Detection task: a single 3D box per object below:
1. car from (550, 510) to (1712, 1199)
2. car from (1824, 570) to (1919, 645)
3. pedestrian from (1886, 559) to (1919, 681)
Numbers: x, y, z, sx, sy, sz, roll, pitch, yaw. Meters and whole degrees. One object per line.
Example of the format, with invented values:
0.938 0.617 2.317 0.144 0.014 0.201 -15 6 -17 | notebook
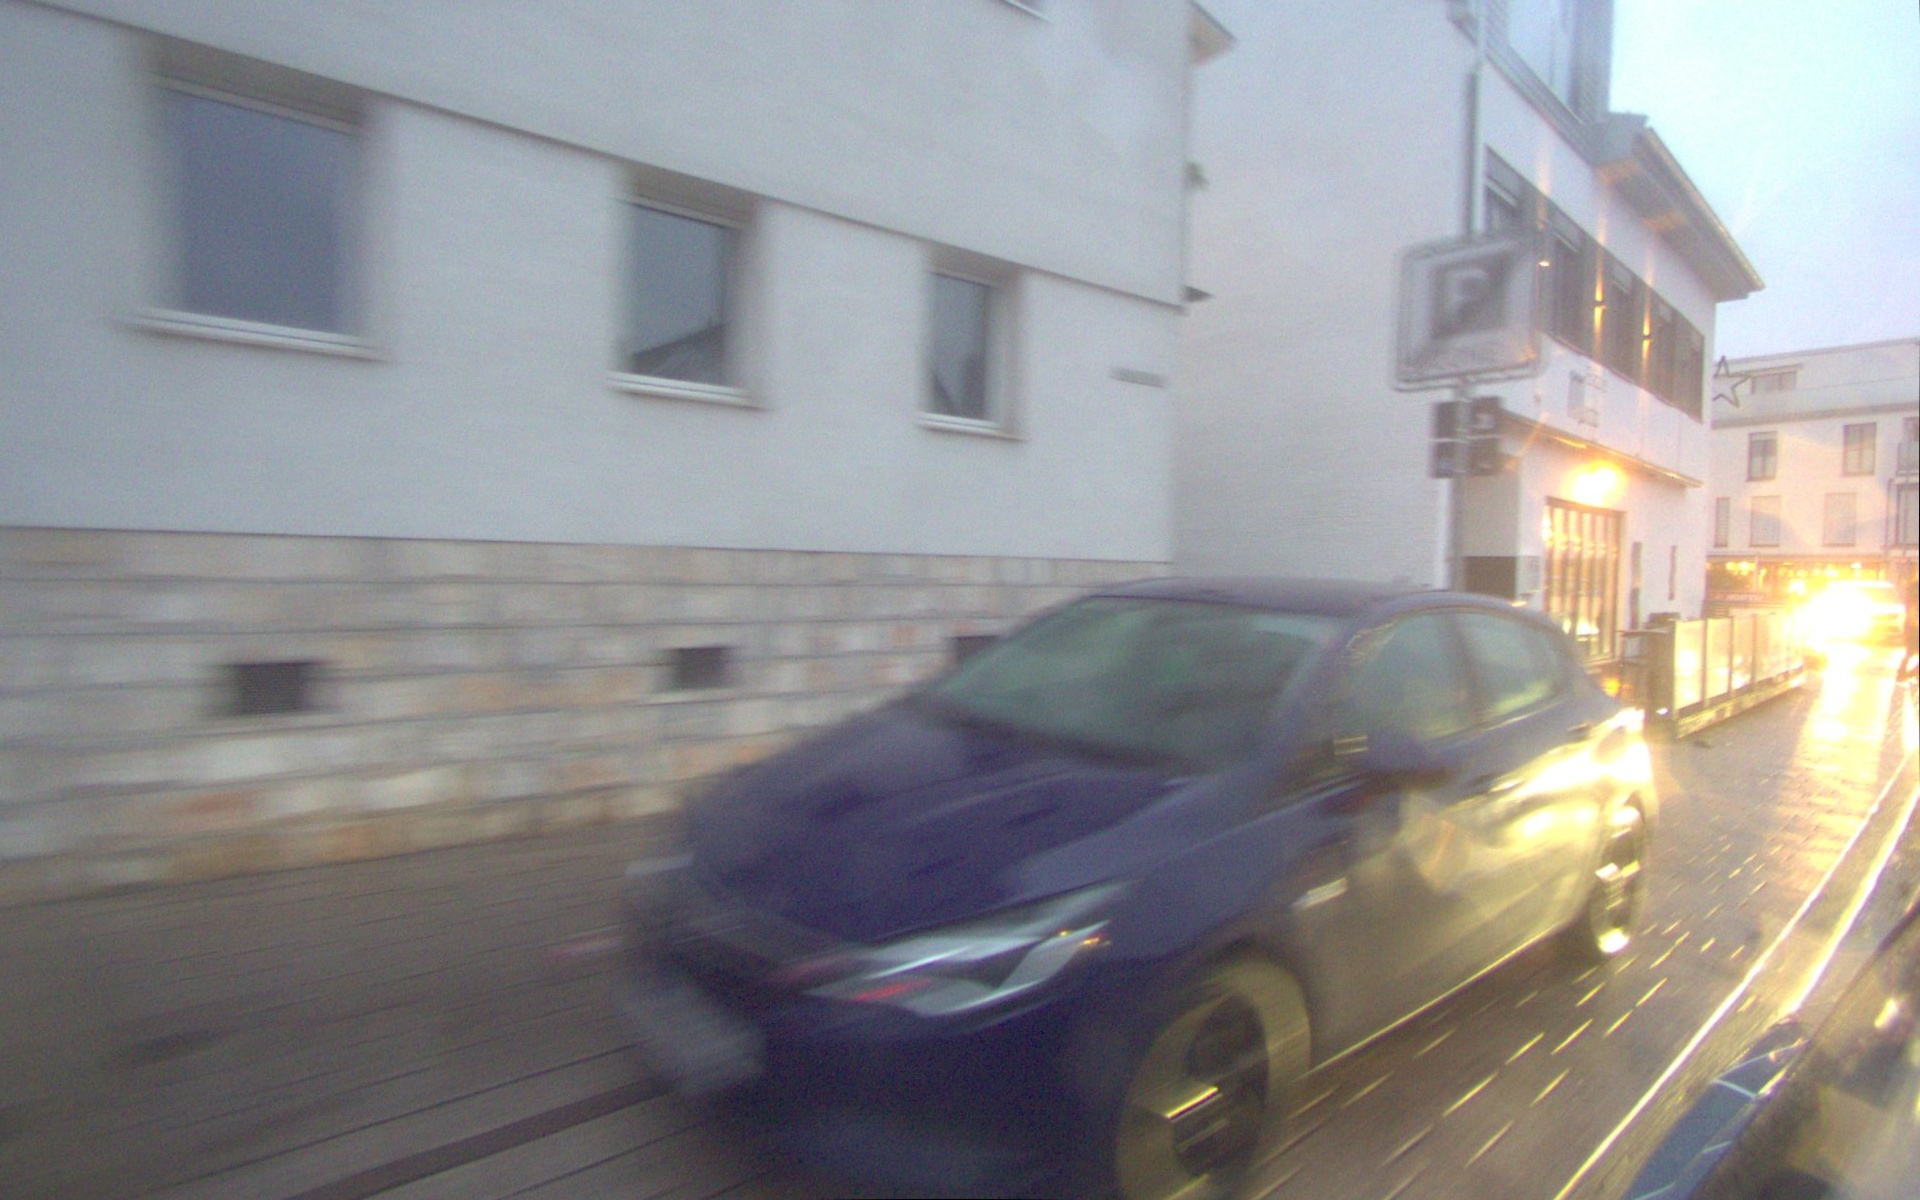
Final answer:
0.949 0.557 3.610 4.123 1.482 1.733 1 4 -39 | car
24.500 0.146 27.067 1.816 1.767 3.948 0 2 37 | car
15.283 0.304 15.914 0.696 1.889 0.792 -1 1 3 | pedestrian
